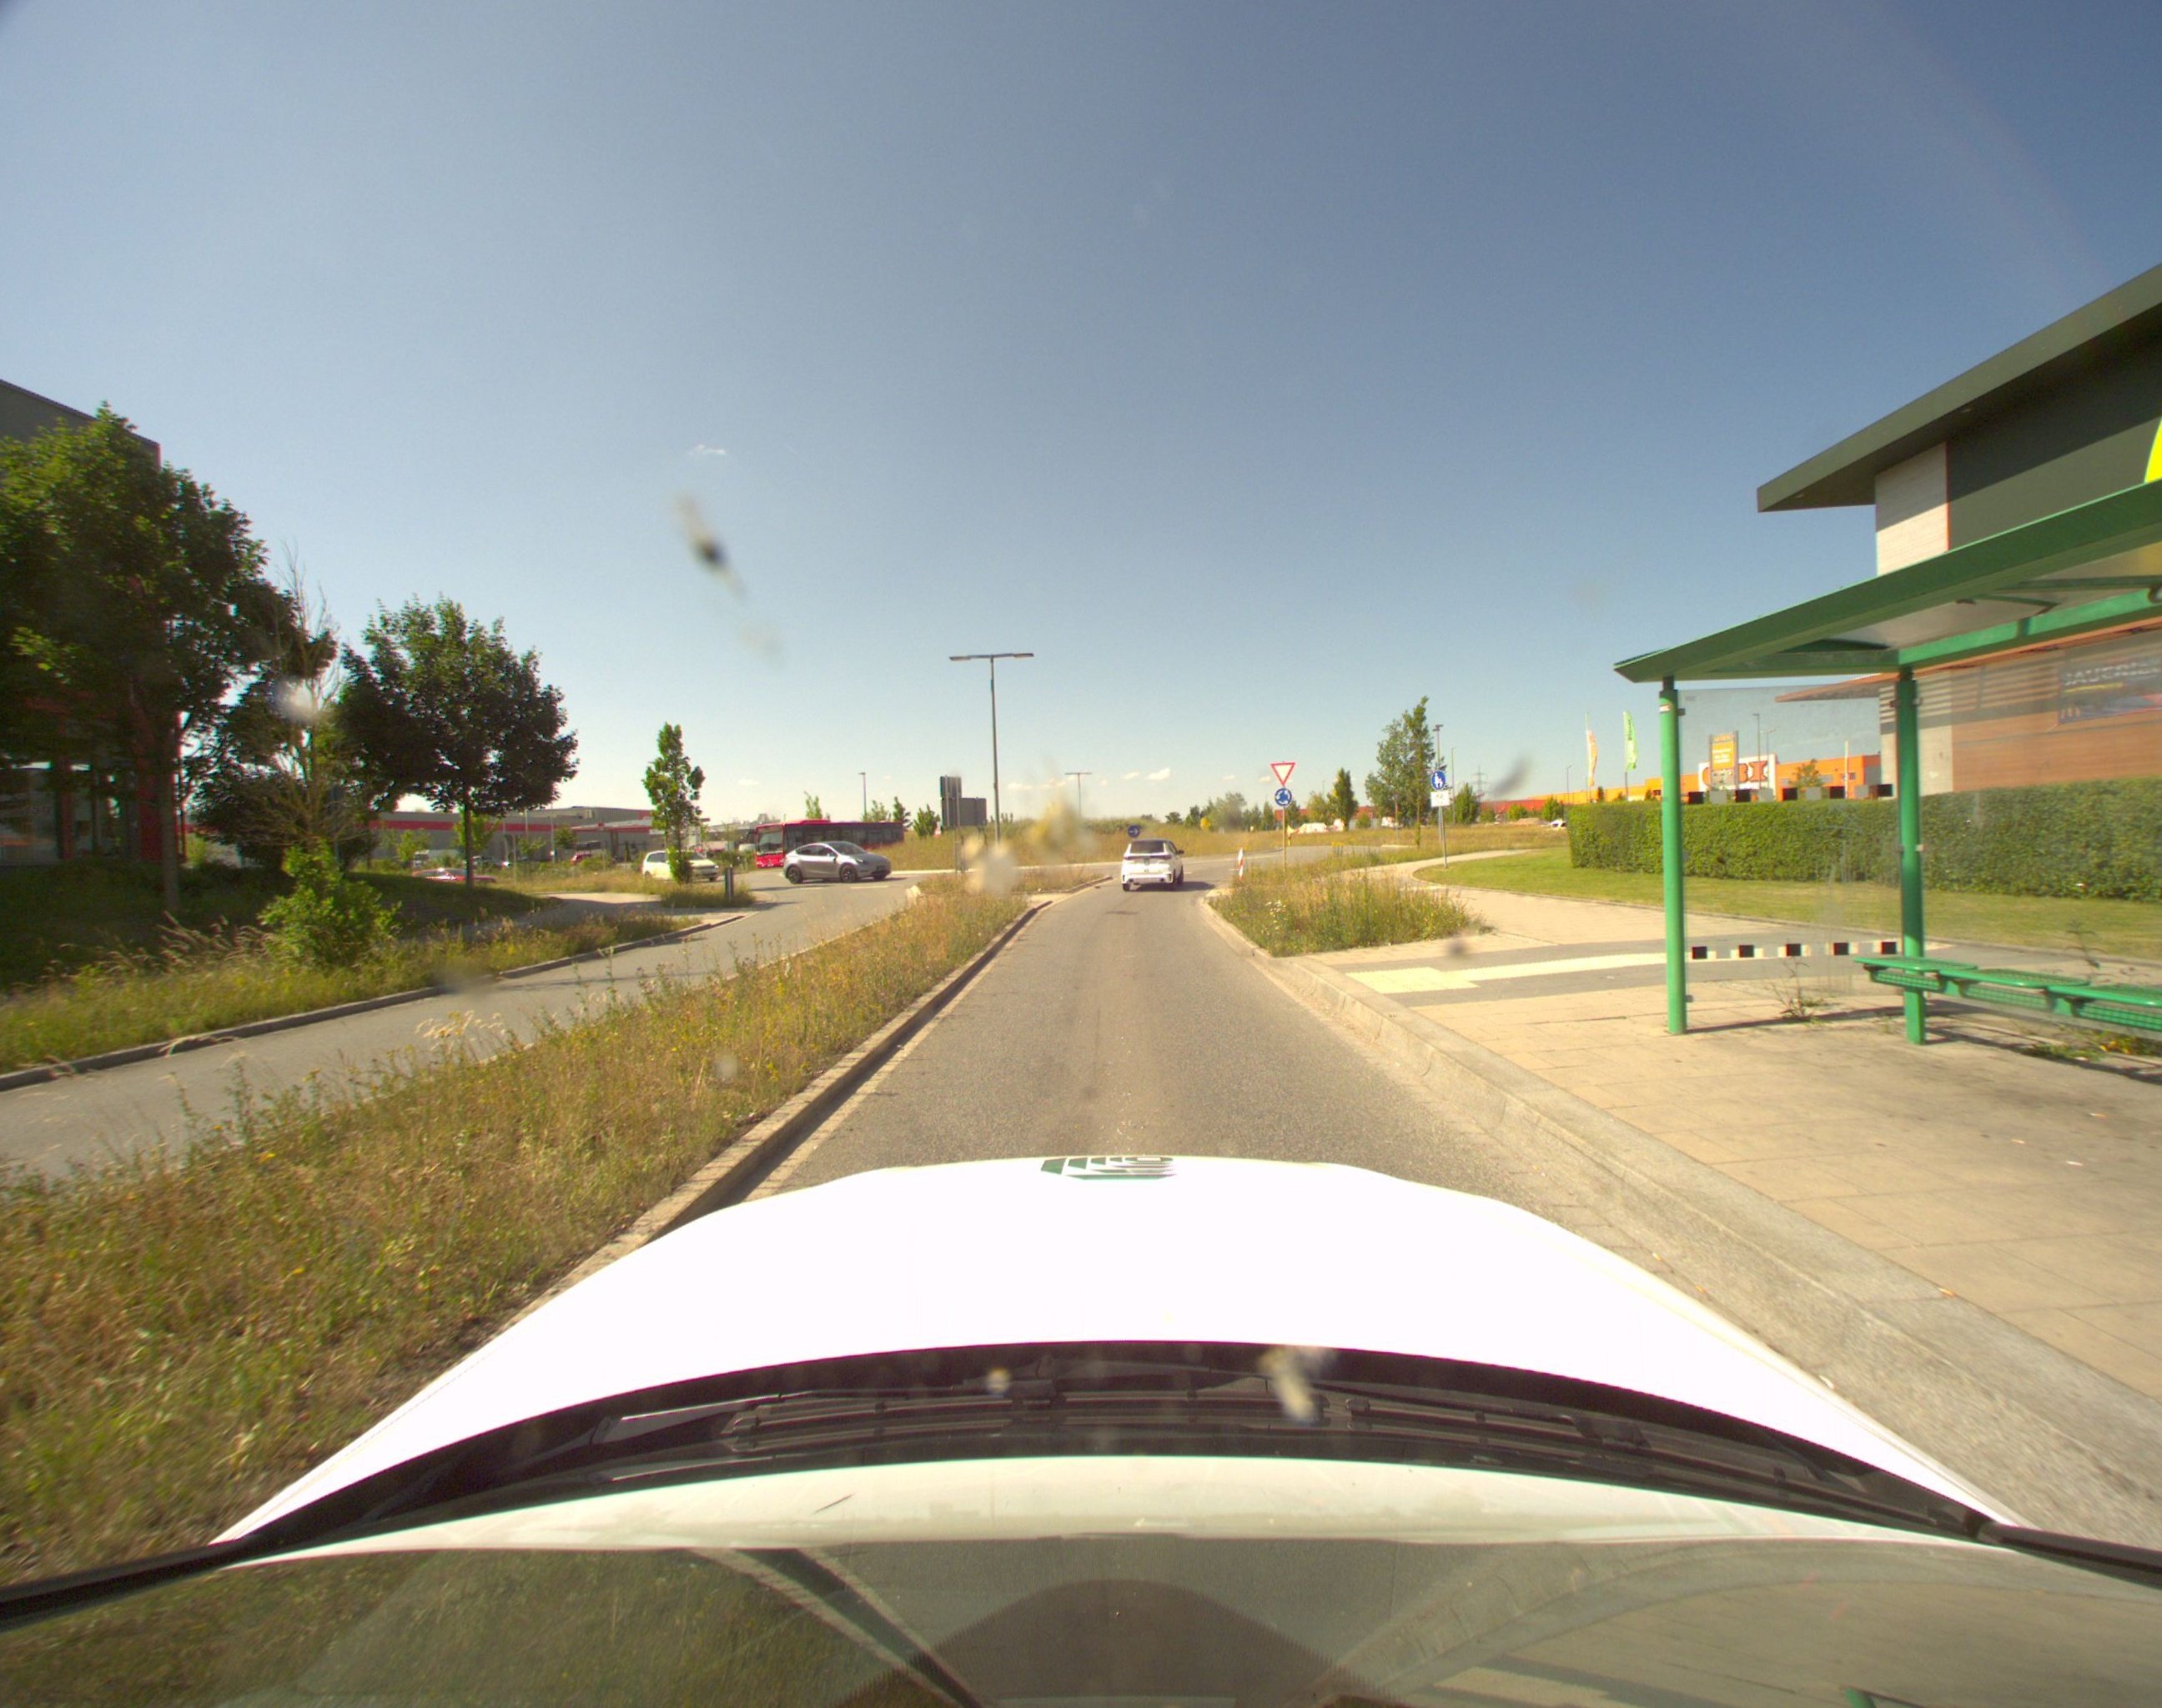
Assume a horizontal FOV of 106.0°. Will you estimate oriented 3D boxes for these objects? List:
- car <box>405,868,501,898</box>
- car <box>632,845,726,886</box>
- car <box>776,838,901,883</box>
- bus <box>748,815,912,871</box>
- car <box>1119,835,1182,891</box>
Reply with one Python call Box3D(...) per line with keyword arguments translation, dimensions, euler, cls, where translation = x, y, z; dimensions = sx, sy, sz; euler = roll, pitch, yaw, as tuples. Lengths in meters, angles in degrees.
Box3D(translation=(-33.746, 1.541, 43.823), dimensions=(3.971, 1.387, 1.574), euler=(-2, 1, 2), cls="car")
Box3D(translation=(-19.262, 0.578, 38.961), dimensions=(4.530, 1.665, 1.859), euler=(-3, 2, 32), cls="car")
Box3D(translation=(-9.658, 0.254, 32.422), dimensions=(4.566, 1.625, 1.976), euler=(-1, 2, 27), cls="car")
Box3D(translation=(-16.400, -0.913, 54.896), dimensions=(2.761, 3.078, 12.277), euler=(-2, 2, 26), cls="bus")
Box3D(translation=(2.160, 0.204, 24.531), dimensions=(1.607, 1.434, 3.802), euler=(-2, 2, 8), cls="car")
